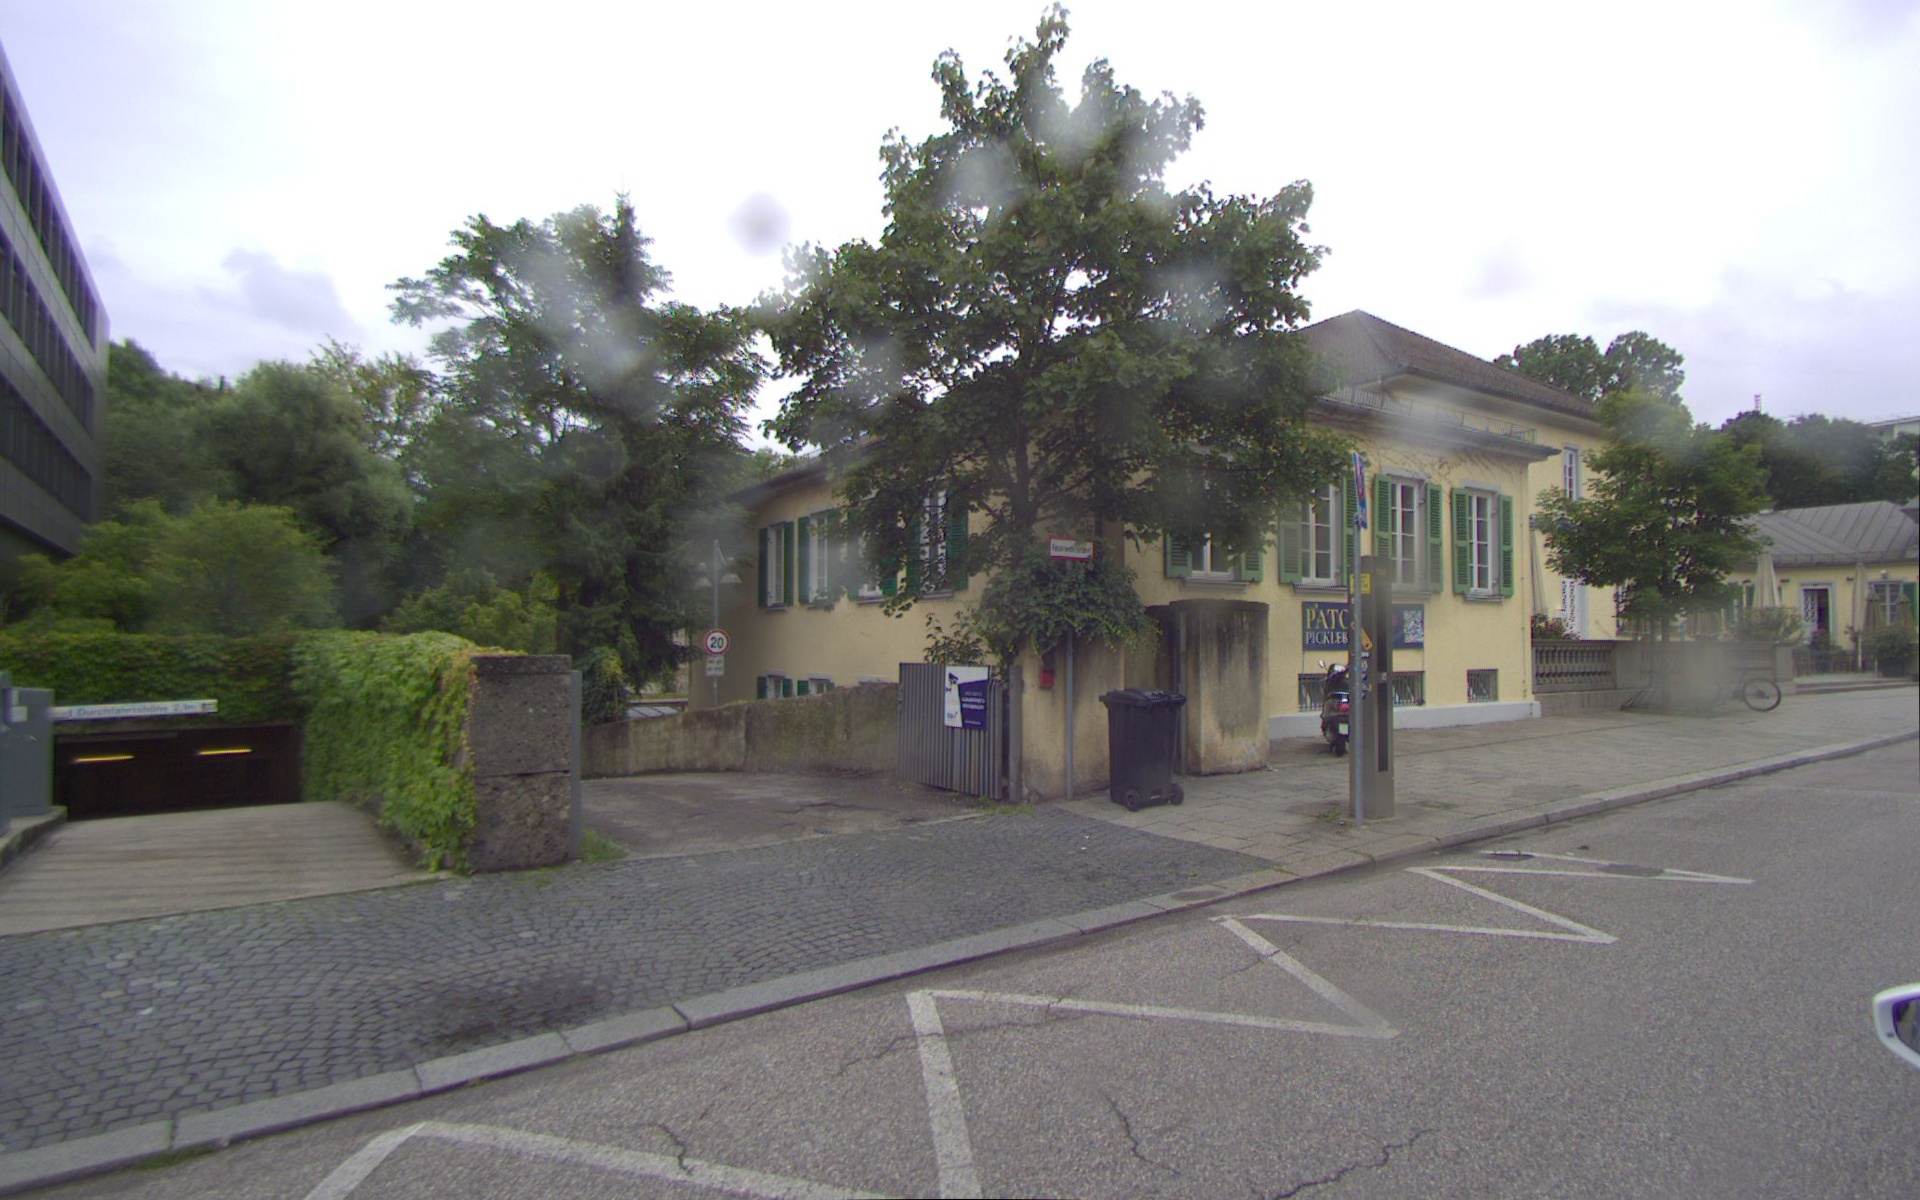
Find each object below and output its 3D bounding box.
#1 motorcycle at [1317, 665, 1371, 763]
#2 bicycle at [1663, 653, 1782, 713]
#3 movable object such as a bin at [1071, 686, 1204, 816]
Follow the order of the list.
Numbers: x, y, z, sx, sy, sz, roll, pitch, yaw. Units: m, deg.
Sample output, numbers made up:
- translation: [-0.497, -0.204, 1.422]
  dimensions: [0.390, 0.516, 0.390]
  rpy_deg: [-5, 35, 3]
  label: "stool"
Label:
- translation: [5.064, 1.468, 13.314]
  dimensions: [0.547, 1.116, 1.839]
  rpy_deg: [1, -1, 17]
  label: "motorcycle"
- translation: [16.207, 1.746, 21.402]
  dimensions: [0.608, 1.113, 1.919]
  rpy_deg: [1, 0, -32]
  label: "bicycle"
- translation: [1.674, 1.386, 9.500]
  dimensions: [0.833, 1.078, 0.928]
  rpy_deg: [1, -2, -38]
  label: "movable object such as a bin"
